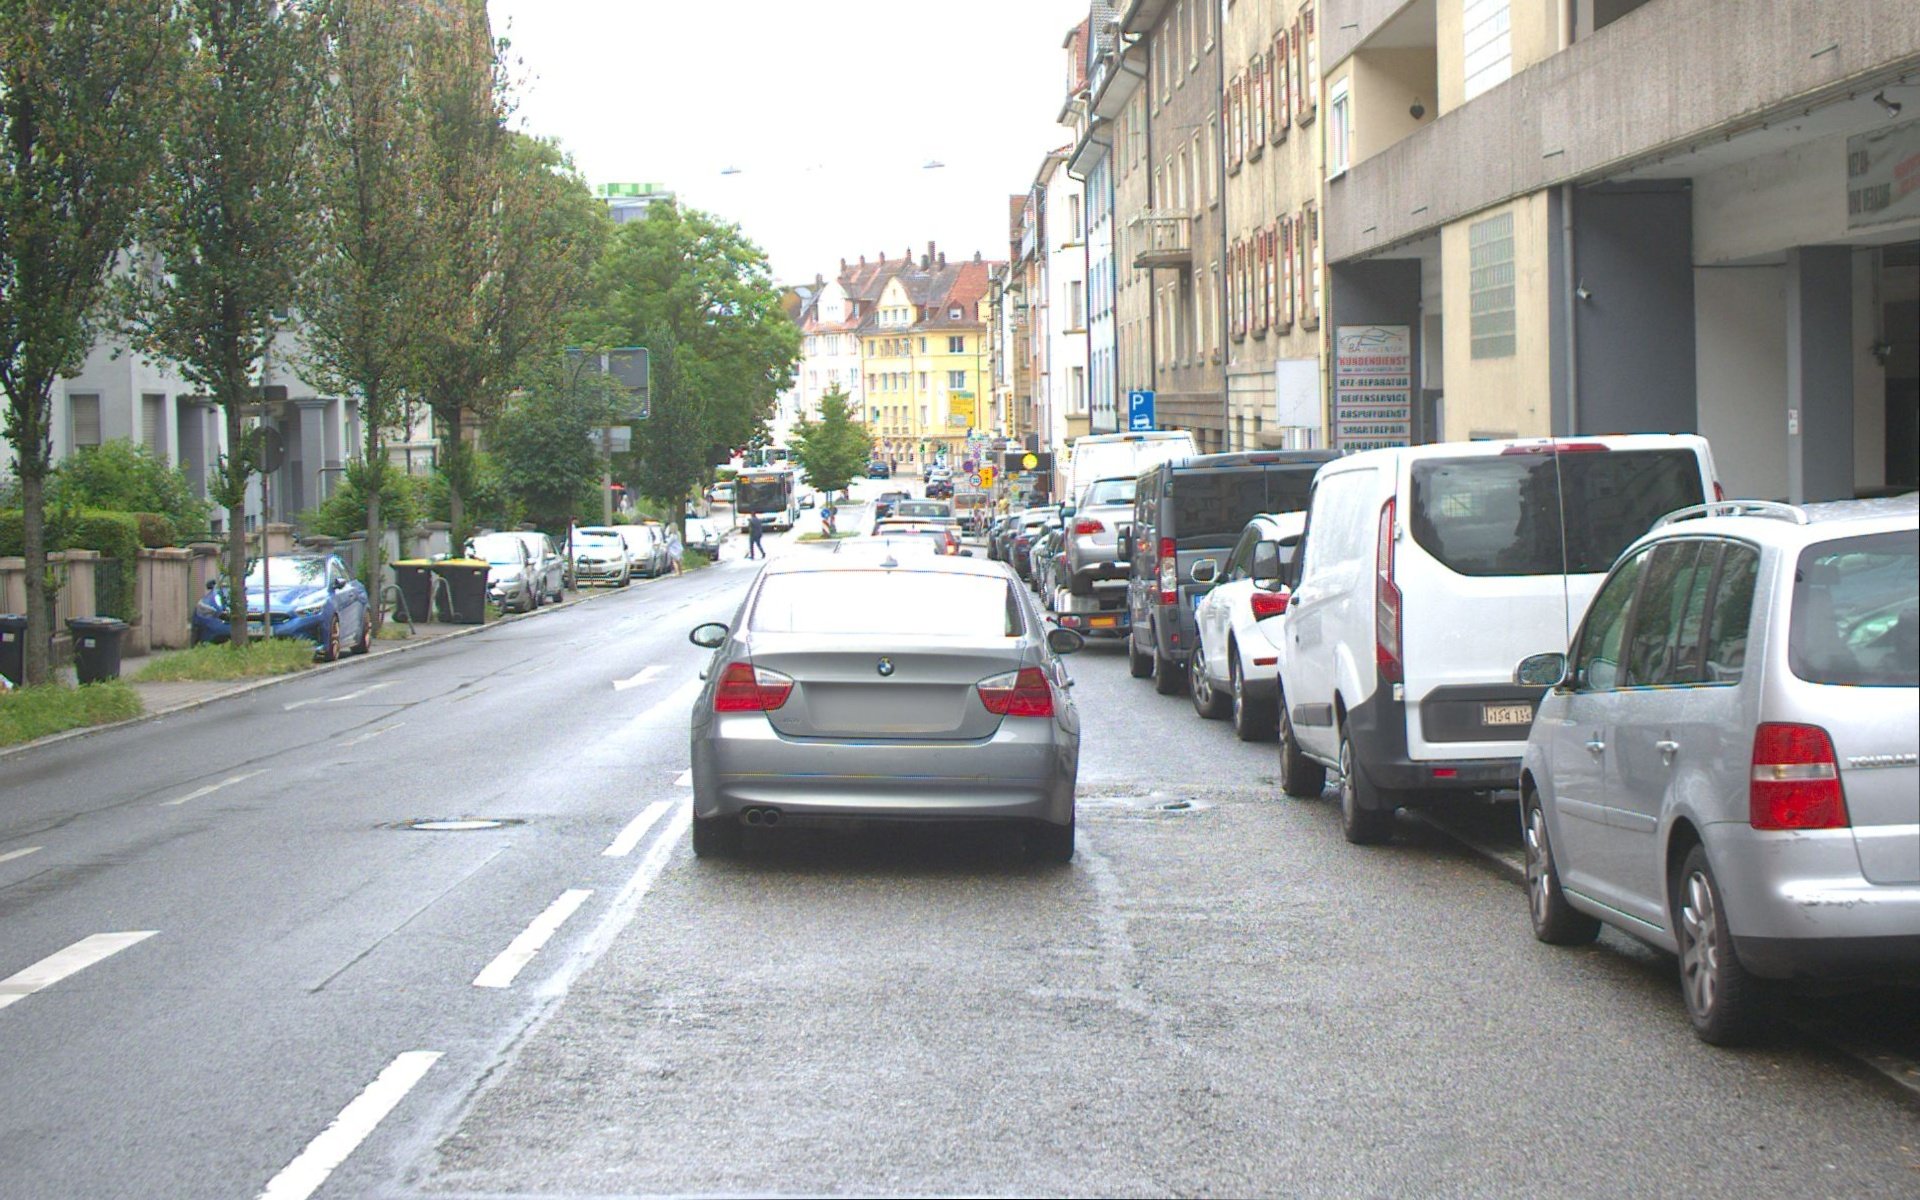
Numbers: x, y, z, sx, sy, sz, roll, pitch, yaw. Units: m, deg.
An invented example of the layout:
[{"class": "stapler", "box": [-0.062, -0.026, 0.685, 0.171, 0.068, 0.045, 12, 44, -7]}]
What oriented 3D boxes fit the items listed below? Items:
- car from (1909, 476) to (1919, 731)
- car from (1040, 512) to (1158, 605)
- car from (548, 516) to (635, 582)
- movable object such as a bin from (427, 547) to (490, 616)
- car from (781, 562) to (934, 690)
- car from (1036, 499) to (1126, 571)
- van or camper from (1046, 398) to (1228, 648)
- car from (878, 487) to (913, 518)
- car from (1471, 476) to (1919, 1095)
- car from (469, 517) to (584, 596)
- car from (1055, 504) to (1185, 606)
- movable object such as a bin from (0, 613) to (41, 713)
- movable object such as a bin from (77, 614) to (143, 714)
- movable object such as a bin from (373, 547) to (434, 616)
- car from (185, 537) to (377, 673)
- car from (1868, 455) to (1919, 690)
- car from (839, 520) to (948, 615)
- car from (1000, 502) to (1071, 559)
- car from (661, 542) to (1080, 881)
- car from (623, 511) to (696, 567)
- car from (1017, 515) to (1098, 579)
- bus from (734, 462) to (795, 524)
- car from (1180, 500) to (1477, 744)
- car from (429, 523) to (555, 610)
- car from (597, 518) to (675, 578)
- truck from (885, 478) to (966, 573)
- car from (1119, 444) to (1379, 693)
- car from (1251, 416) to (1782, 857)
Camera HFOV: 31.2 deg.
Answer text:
[{"class": "car", "box": [8.299, 0.008, 21.788, 4.289, 1.635, 1.666, -1, 3, 12]}, {"class": "car", "box": [2.292, -0.700, 57.409, 1.697, 1.478, 3.976, 0, 1, -1]}, {"class": "car", "box": [-9.288, -1.306, 86.924, 1.691, 1.518, 3.737, -3, 2, 0]}, {"class": "movable object such as a bin", "box": [-8.598, -0.324, 58.979, 0.935, 1.164, 0.909, 0, 1, -1]}, {"class": "car", "box": [-1.180, 0.276, 41.037, 1.682, 1.423, 3.741, 0, 1, 0]}, {"class": "car", "box": [2.568, -1.389, 73.761, 1.697, 1.478, 3.976, 0, 1, -1]}, {"class": "van or camper", "box": [2.245, -0.988, 43.620, 2.033, 2.859, 6.885, 2, 2, 3]}, {"class": "car", "box": [-3.262, -4.911, 173.799, 1.697, 1.478, 3.794, -2, 1, -1]}, {"class": "car", "box": [2.972, 0.434, 11.603, 1.726, 1.664, 4.289, -3, 1, -1]}, {"class": "car", "box": [-9.054, -0.934, 72.058, 1.827, 1.518, 3.737, -3, 2, 0]}, {"class": "car", "box": [2.407, -0.690, 52.510, 1.697, 1.478, 3.794, 0, 1, -1]}, {"class": "movable object such as a bin", "box": [-9.058, 0.599, 32.711, 0.574, 0.909, 0.640, -2, 1, -15]}, {"class": "movable object such as a bin", "box": [-8.117, 0.610, 32.819, 0.574, 0.909, 0.640, -2, 1, -15]}, {"class": "movable object such as a bin", "box": [-9.545, -0.325, 58.988, 0.902, 1.164, 0.895, 0, 1, -1]}, {"class": "car", "box": [-8.864, 0.022, 45.148, 1.766, 1.588, 4.001, -3, 2, -2]}, {"class": "car", "box": [8.810, -0.254, 24.776, 4.289, 1.635, 1.666, -1, 3, 12]}, {"class": "car", "box": [-1.094, -0.535, 55.797, 1.697, 1.478, 3.794, 0, 1, -1]}, {"class": "car", "box": [1.981, -1.846, 91.496, 1.697, 1.478, 3.976, 0, 1, -1]}, {"class": "car", "box": [-0.368, 0.442, 16.477, 1.769, 1.423, 3.741, 0, 1, 0]}, {"class": "car", "box": [-8.756, -1.807, 100.413, 1.691, 1.518, 3.737, -3, 2, 0]}, {"class": "car", "box": [2.289, -1.262, 81.534, 1.697, 1.478, 3.976, 0, 1, -1]}, {"class": "bus", "box": [-9.883, -5.384, 174.190, 2.668, 3.013, 7.671, -2, 1, -1]}, {"class": "car", "box": [2.741, 0.107, 26.435, 1.726, 1.664, 4.289, -2, 1, -1]}, {"class": "car", "box": [-9.025, -0.674, 66.531, 1.827, 1.518, 3.737, -3, 2, 0]}, {"class": "car", "box": [-8.855, -1.443, 94.257, 1.691, 1.518, 3.737, -3, 2, 0]}, {"class": "truck", "box": [-0.927, -1.930, 90.079, 2.032, 2.404, 4.827, 0, 1, -1]}, {"class": "car", "box": [2.693, -0.337, 33.099, 1.982, 2.158, 4.750, -2, 1, -1]}, {"class": "car", "box": [2.811, 0.119, 18.453, 1.982, 2.000, 4.625, -2, 1, -1]}]
